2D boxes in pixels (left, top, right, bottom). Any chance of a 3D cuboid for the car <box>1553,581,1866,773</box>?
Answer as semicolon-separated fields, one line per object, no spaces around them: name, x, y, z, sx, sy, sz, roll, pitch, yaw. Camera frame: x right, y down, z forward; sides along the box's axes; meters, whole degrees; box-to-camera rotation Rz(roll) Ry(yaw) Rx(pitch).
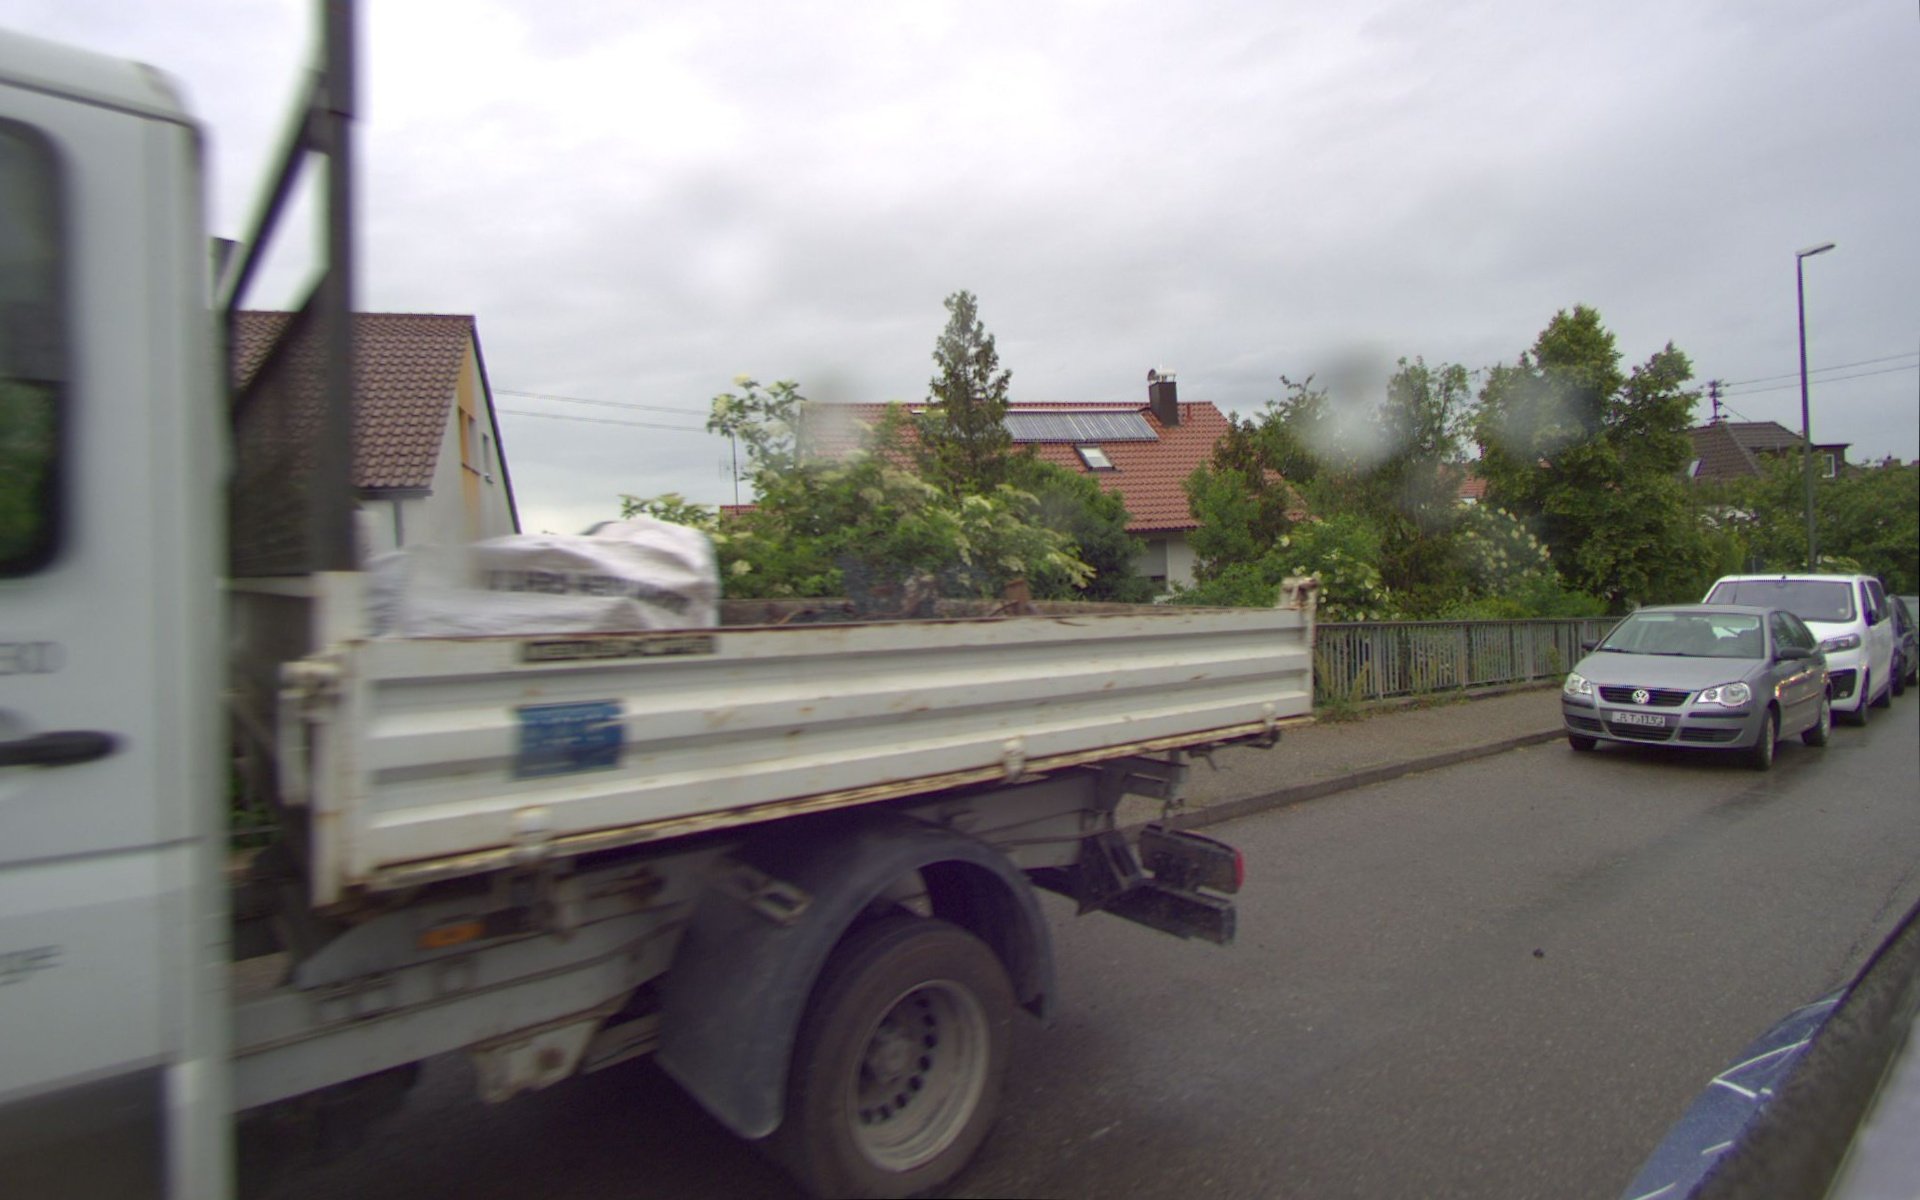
car;7.673;0.606;10.242;3.892;1.583;1.651;-1;1;-39

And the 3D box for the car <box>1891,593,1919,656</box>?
car;24.206;0.575;24.607;3.782;1.432;1.740;-1;1;-39

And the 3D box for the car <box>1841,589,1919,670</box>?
car;20.137;0.557;21.209;4.640;1.525;1.820;-1;1;-40

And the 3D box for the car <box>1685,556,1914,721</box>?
car;11.738;0.403;14.021;4.828;1.905;1.851;-1;1;-43

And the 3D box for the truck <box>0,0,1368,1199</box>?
truck;-1.829;0.110;2.168;6.422;2.664;2.244;-1;1;-40

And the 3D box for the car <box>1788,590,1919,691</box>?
car;16.272;0.619;17.965;4.276;1.560;1.648;-1;1;-40
